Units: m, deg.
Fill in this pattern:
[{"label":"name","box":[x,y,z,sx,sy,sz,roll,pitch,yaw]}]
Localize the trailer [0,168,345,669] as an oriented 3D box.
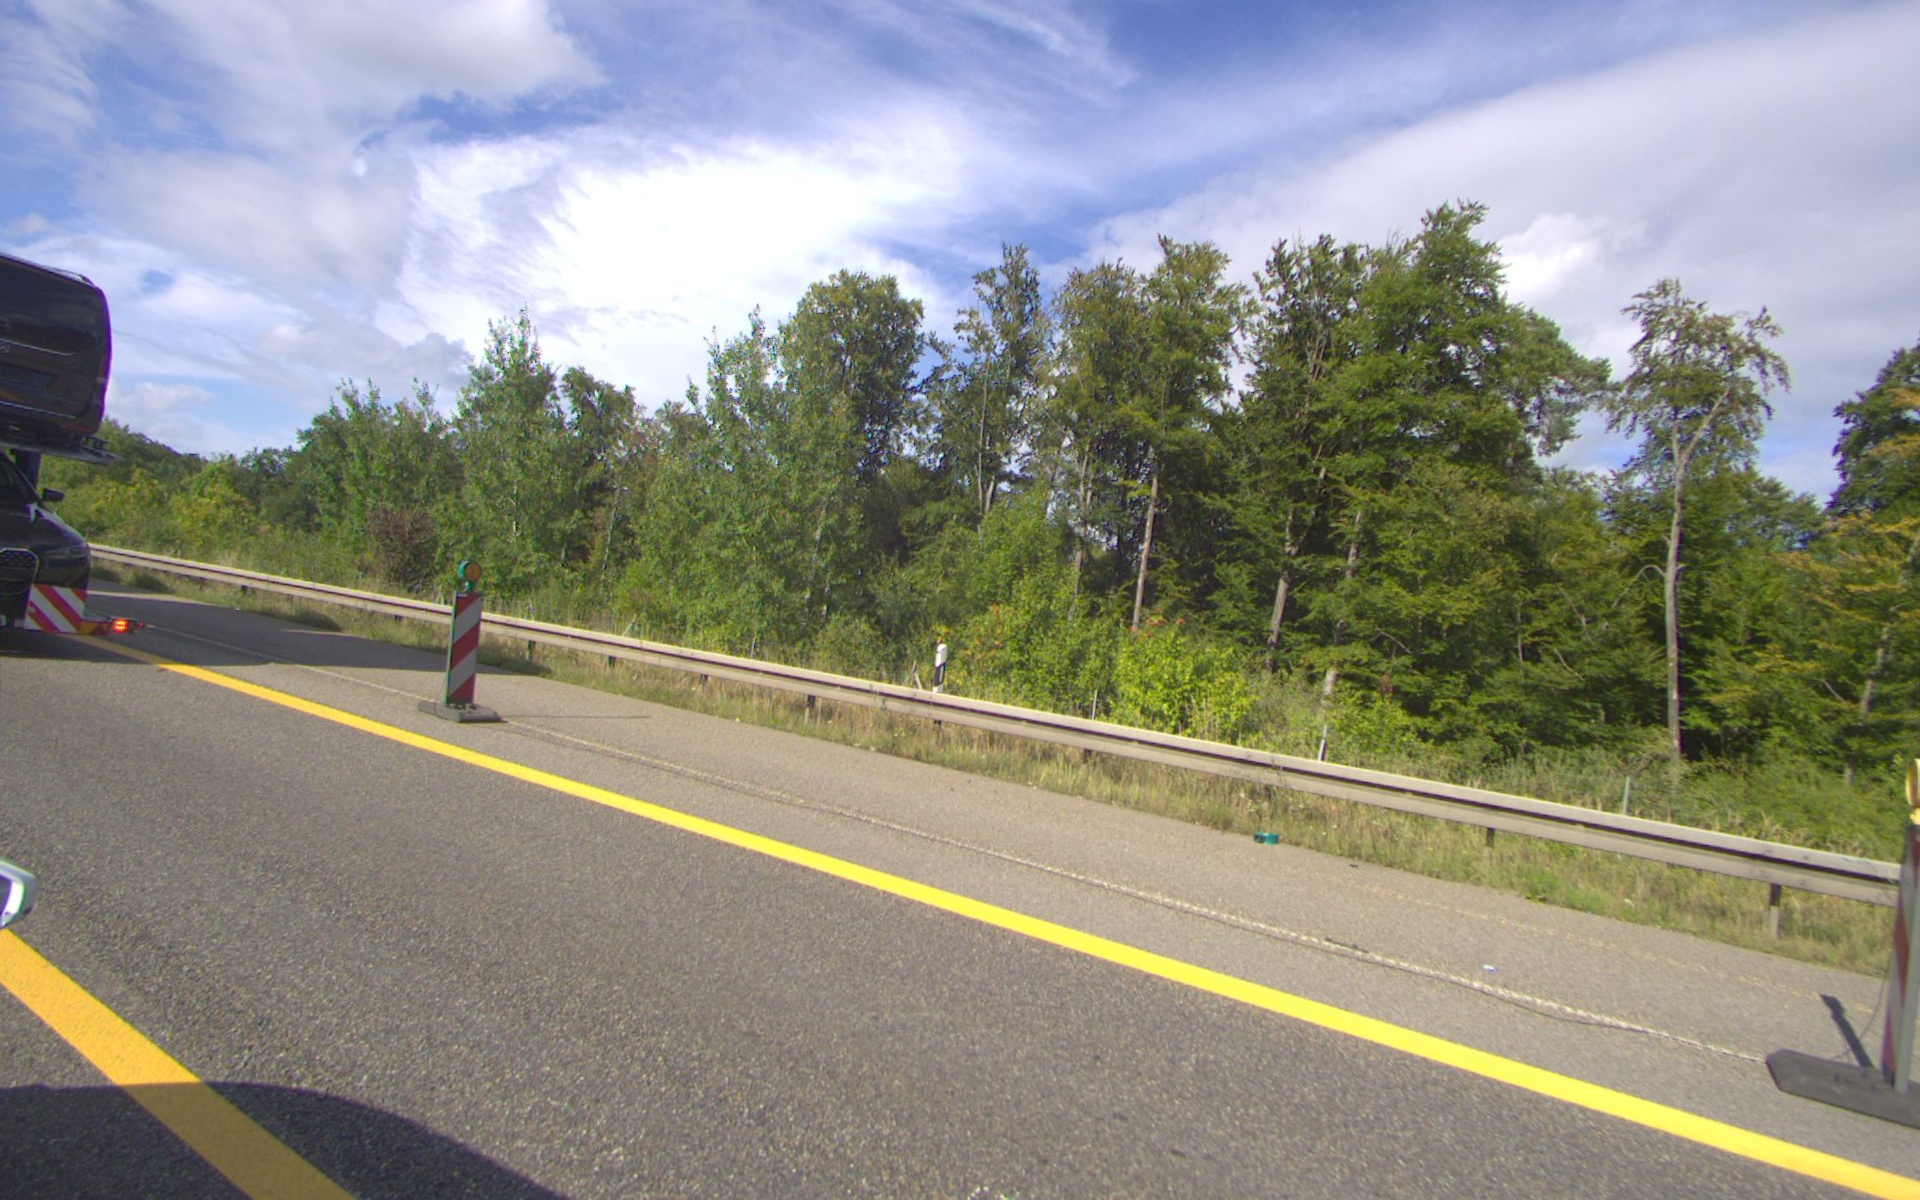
[{"label":"trailer","box":[-14.885,-2.292,13.650,15.954,4.244,3.735,6,-2,30]}]
